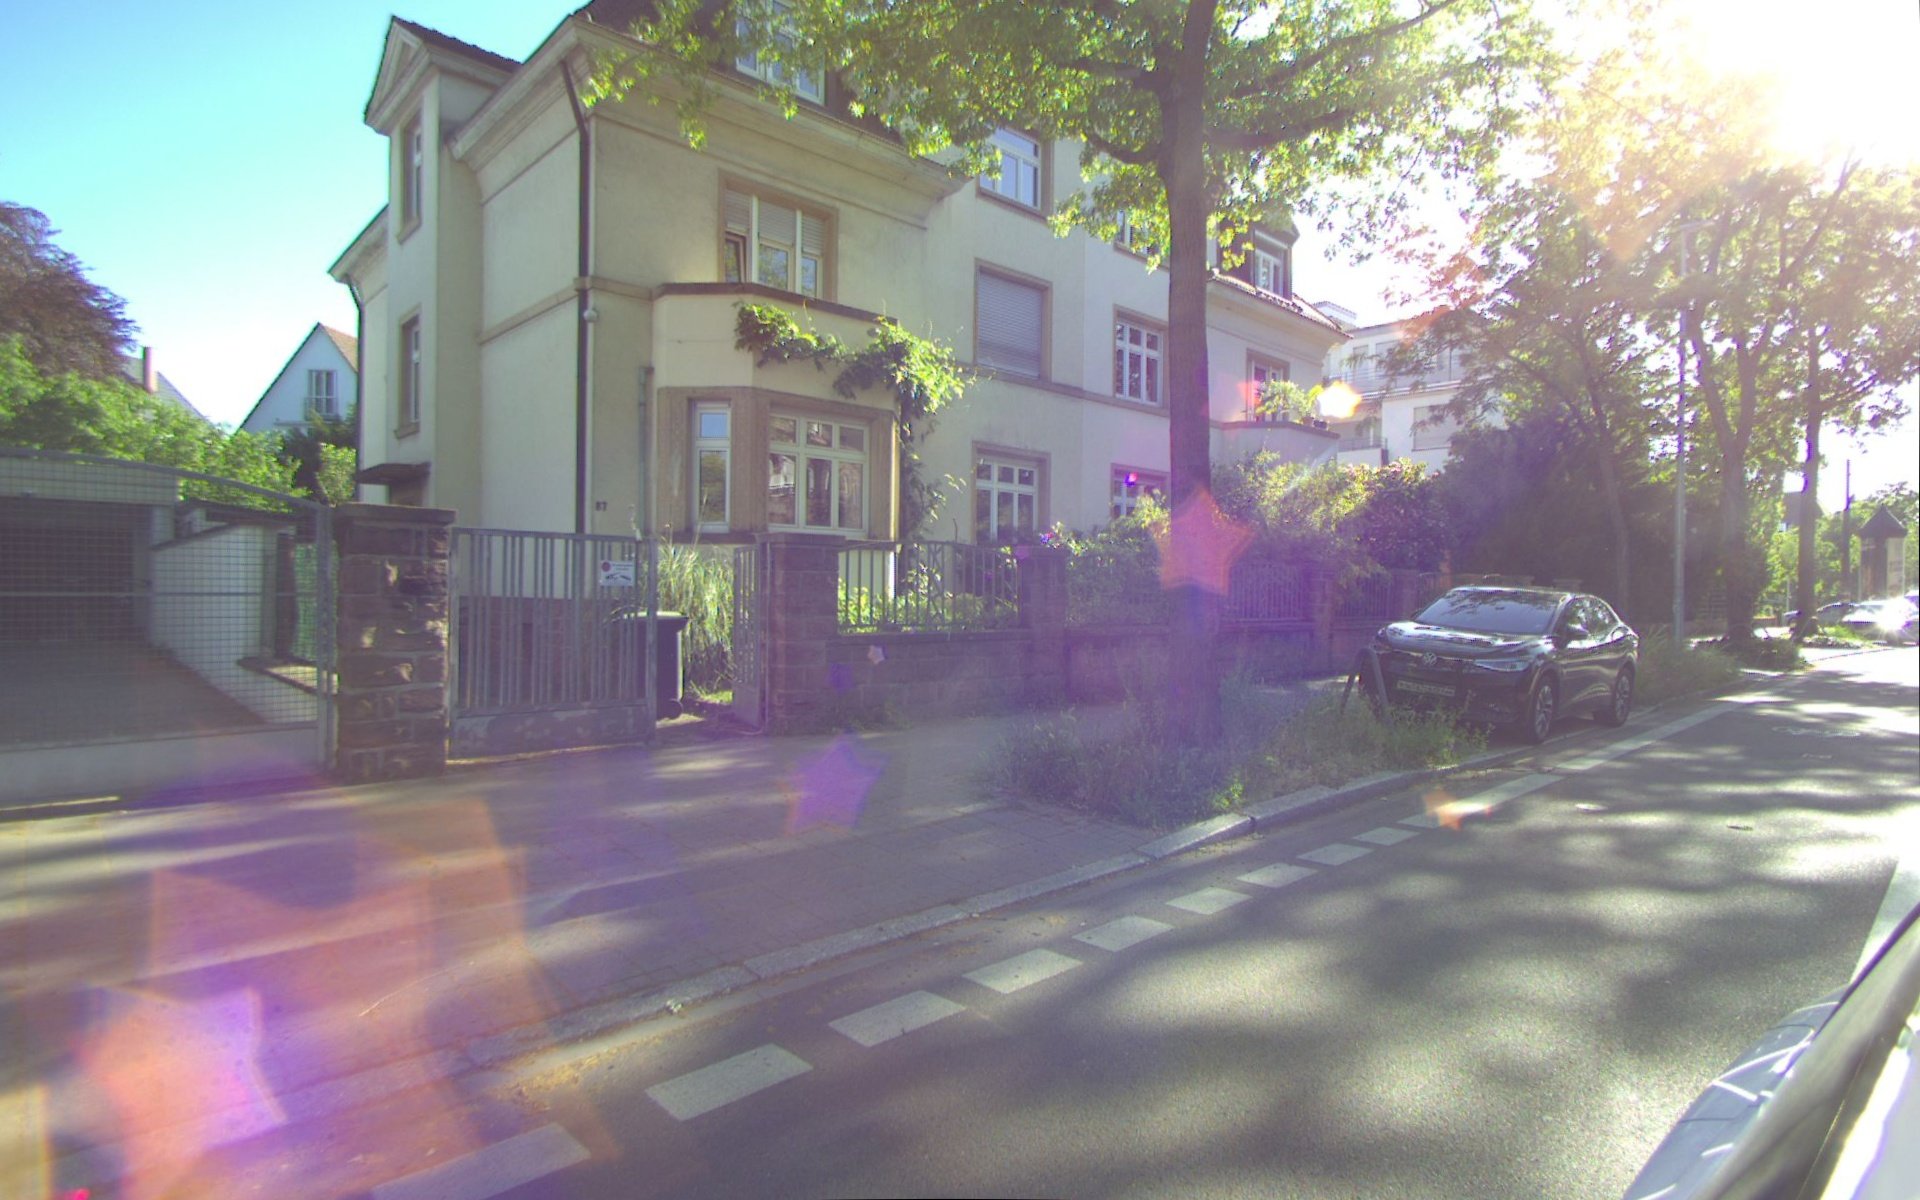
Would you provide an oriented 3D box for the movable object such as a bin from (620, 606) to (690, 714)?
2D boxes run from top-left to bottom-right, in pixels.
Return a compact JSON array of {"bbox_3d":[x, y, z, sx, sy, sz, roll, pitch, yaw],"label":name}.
[{"bbox_3d":[-3.163,0.603,10.474,0.634,1.060,0.659,0,0,-21],"label":"movable object such as a bin"}]

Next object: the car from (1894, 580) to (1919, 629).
[{"bbox_3d":[36.492,0.181,37.464,4.664,1.768,2.028,0,1,-38],"label":"car"}]

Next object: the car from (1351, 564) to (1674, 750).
[{"bbox_3d":[6.685,0.519,12.002,4.647,1.714,1.808,0,4,-42],"label":"car"}]

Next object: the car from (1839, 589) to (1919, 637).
[{"bbox_3d":[31.563,0.394,34.236,4.254,1.440,1.999,-1,2,-38],"label":"car"}]

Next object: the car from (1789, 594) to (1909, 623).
[{"bbox_3d":[46.553,0.404,53.070,1.934,1.386,4.520,0,1,-39],"label":"car"}]
